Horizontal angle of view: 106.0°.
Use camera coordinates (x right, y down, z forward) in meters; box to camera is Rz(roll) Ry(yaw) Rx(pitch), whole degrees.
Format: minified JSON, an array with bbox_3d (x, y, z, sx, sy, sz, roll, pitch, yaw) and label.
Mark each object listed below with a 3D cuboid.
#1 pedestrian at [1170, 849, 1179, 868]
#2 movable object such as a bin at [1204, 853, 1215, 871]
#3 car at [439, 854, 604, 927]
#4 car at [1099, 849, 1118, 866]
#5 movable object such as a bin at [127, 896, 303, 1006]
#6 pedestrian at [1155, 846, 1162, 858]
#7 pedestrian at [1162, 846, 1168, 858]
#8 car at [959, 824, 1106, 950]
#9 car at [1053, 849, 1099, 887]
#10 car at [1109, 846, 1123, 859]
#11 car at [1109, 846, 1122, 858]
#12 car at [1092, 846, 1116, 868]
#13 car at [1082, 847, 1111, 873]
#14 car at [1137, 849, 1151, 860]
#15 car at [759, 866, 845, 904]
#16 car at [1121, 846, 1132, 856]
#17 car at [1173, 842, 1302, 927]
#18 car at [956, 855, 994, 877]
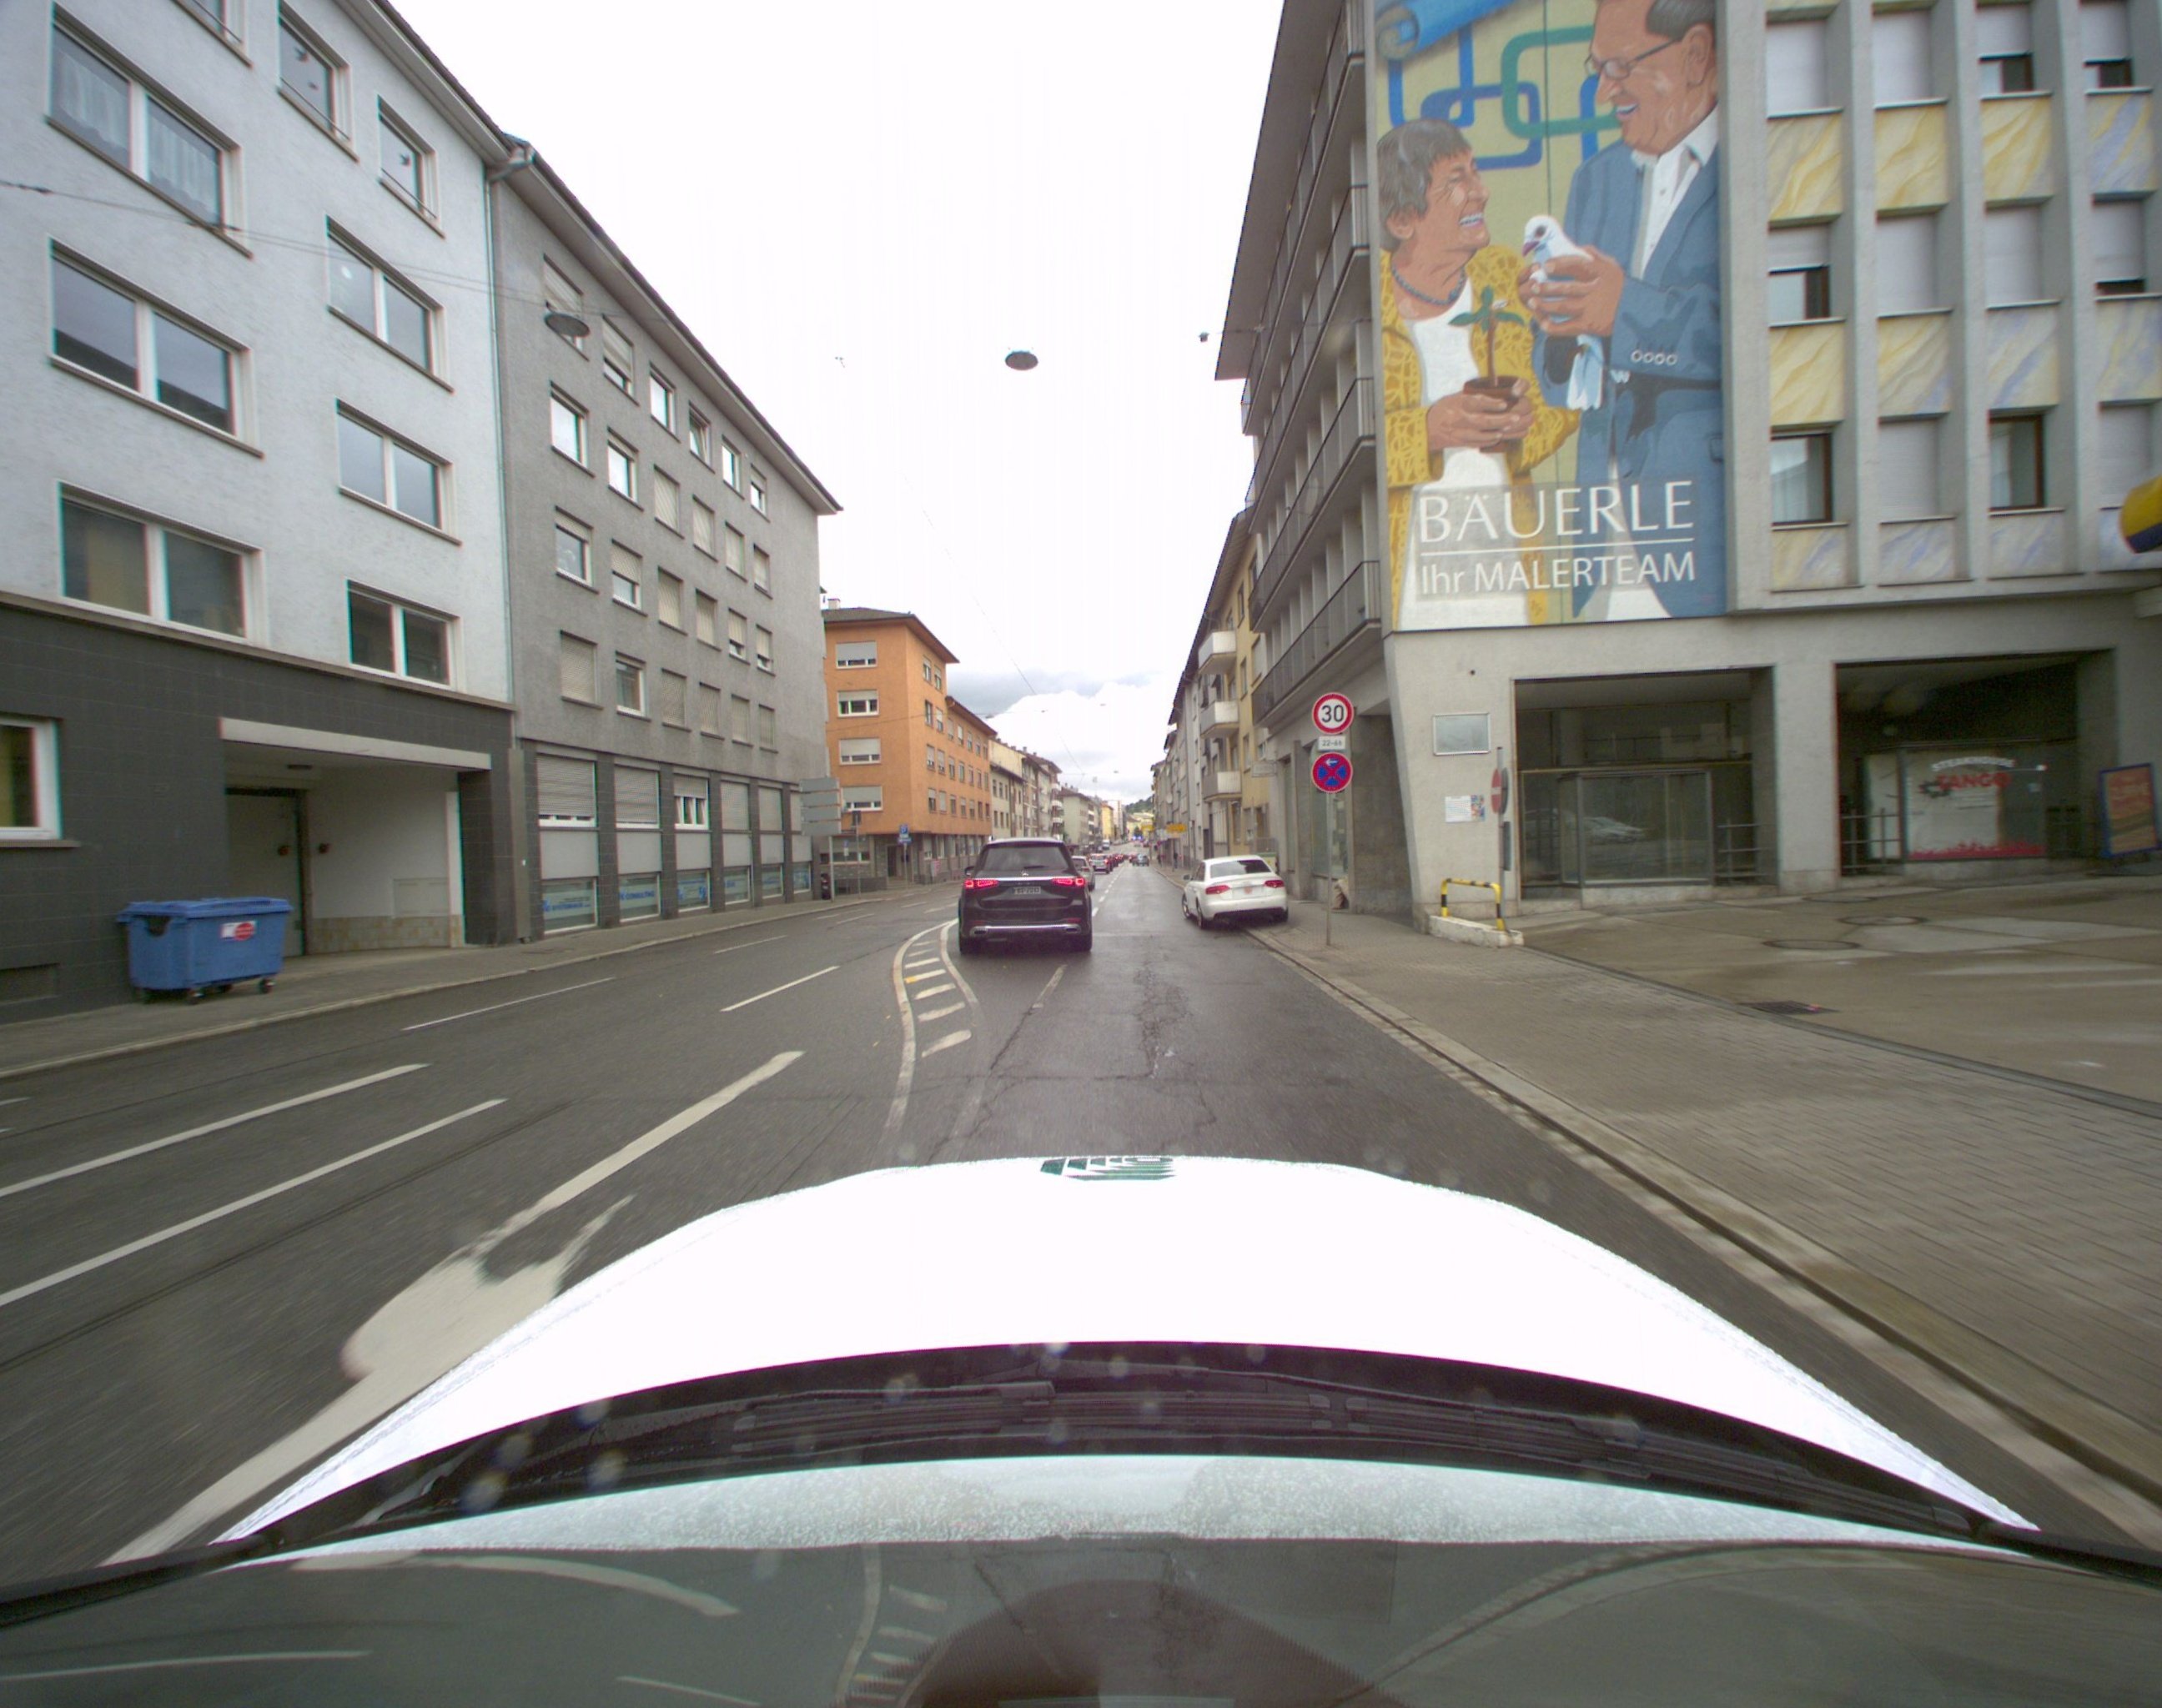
[{"bbox_3d":[8.818,0.426,76.673,0.652,1.752,0.743,-4,0,8],"label":"pedestrian"},{"bbox_3d":[7.077,0.443,44.767,0.471,0.962,0.565,-5,0,5],"label":"movable object such as a bin"},{"bbox_3d":[-23.687,1.486,34.641,5.328,2.459,1.981,-6,0,-3],"label":"car"},{"bbox_3d":[3.348,0.442,98.609,1.983,2.013,4.007,-1,0,6],"label":"car"},{"bbox_3d":[-11.621,1.274,10.983,1.071,1.324,1.192,-1,0,3],"label":"movable object such as a bin"},{"bbox_3d":[10.286,-0.303,107.780,0.816,1.565,0.901,-1,0,6],"label":"pedestrian"},{"bbox_3d":[11.143,-0.284,107.708,0.816,1.565,0.901,-1,0,6],"label":"pedestrian"},{"bbox_3d":[-0.909,0.432,13.865,2.073,1.765,4.601,-1,1,-6],"label":"car"},{"bbox_3d":[-0.161,0.543,35.206,1.886,1.510,4.174,0,0,1],"label":"car"},{"bbox_3d":[5.618,-0.288,130.947,1.983,2.013,4.007,-1,0,6],"label":"car"},{"bbox_3d":[5.832,-0.339,136.375,1.983,2.013,4.007,-1,0,6],"label":"car"},{"bbox_3d":[2.197,0.231,77.019,1.983,2.013,4.007,-1,0,6],"label":"car"},{"bbox_3d":[1.300,0.478,65.206,1.983,2.013,4.007,-1,0,6],"label":"car"},{"bbox_3d":[8.567,0.026,111.368,1.727,1.388,4.585,-1,0,2],"label":"car"},{"bbox_3d":[-15.533,1.724,45.514,3.970,1.652,1.932,-6,0,3],"label":"car"},{"bbox_3d":[9.037,-0.610,162.958,1.983,2.013,4.007,-1,0,6],"label":"car"},{"bbox_3d":[3.250,0.561,17.875,1.887,1.402,4.610,-7,0,1],"label":"car"},{"bbox_3d":[-7.386,0.810,57.189,1.884,1.458,4.551,-1,0,2],"label":"car"}]
